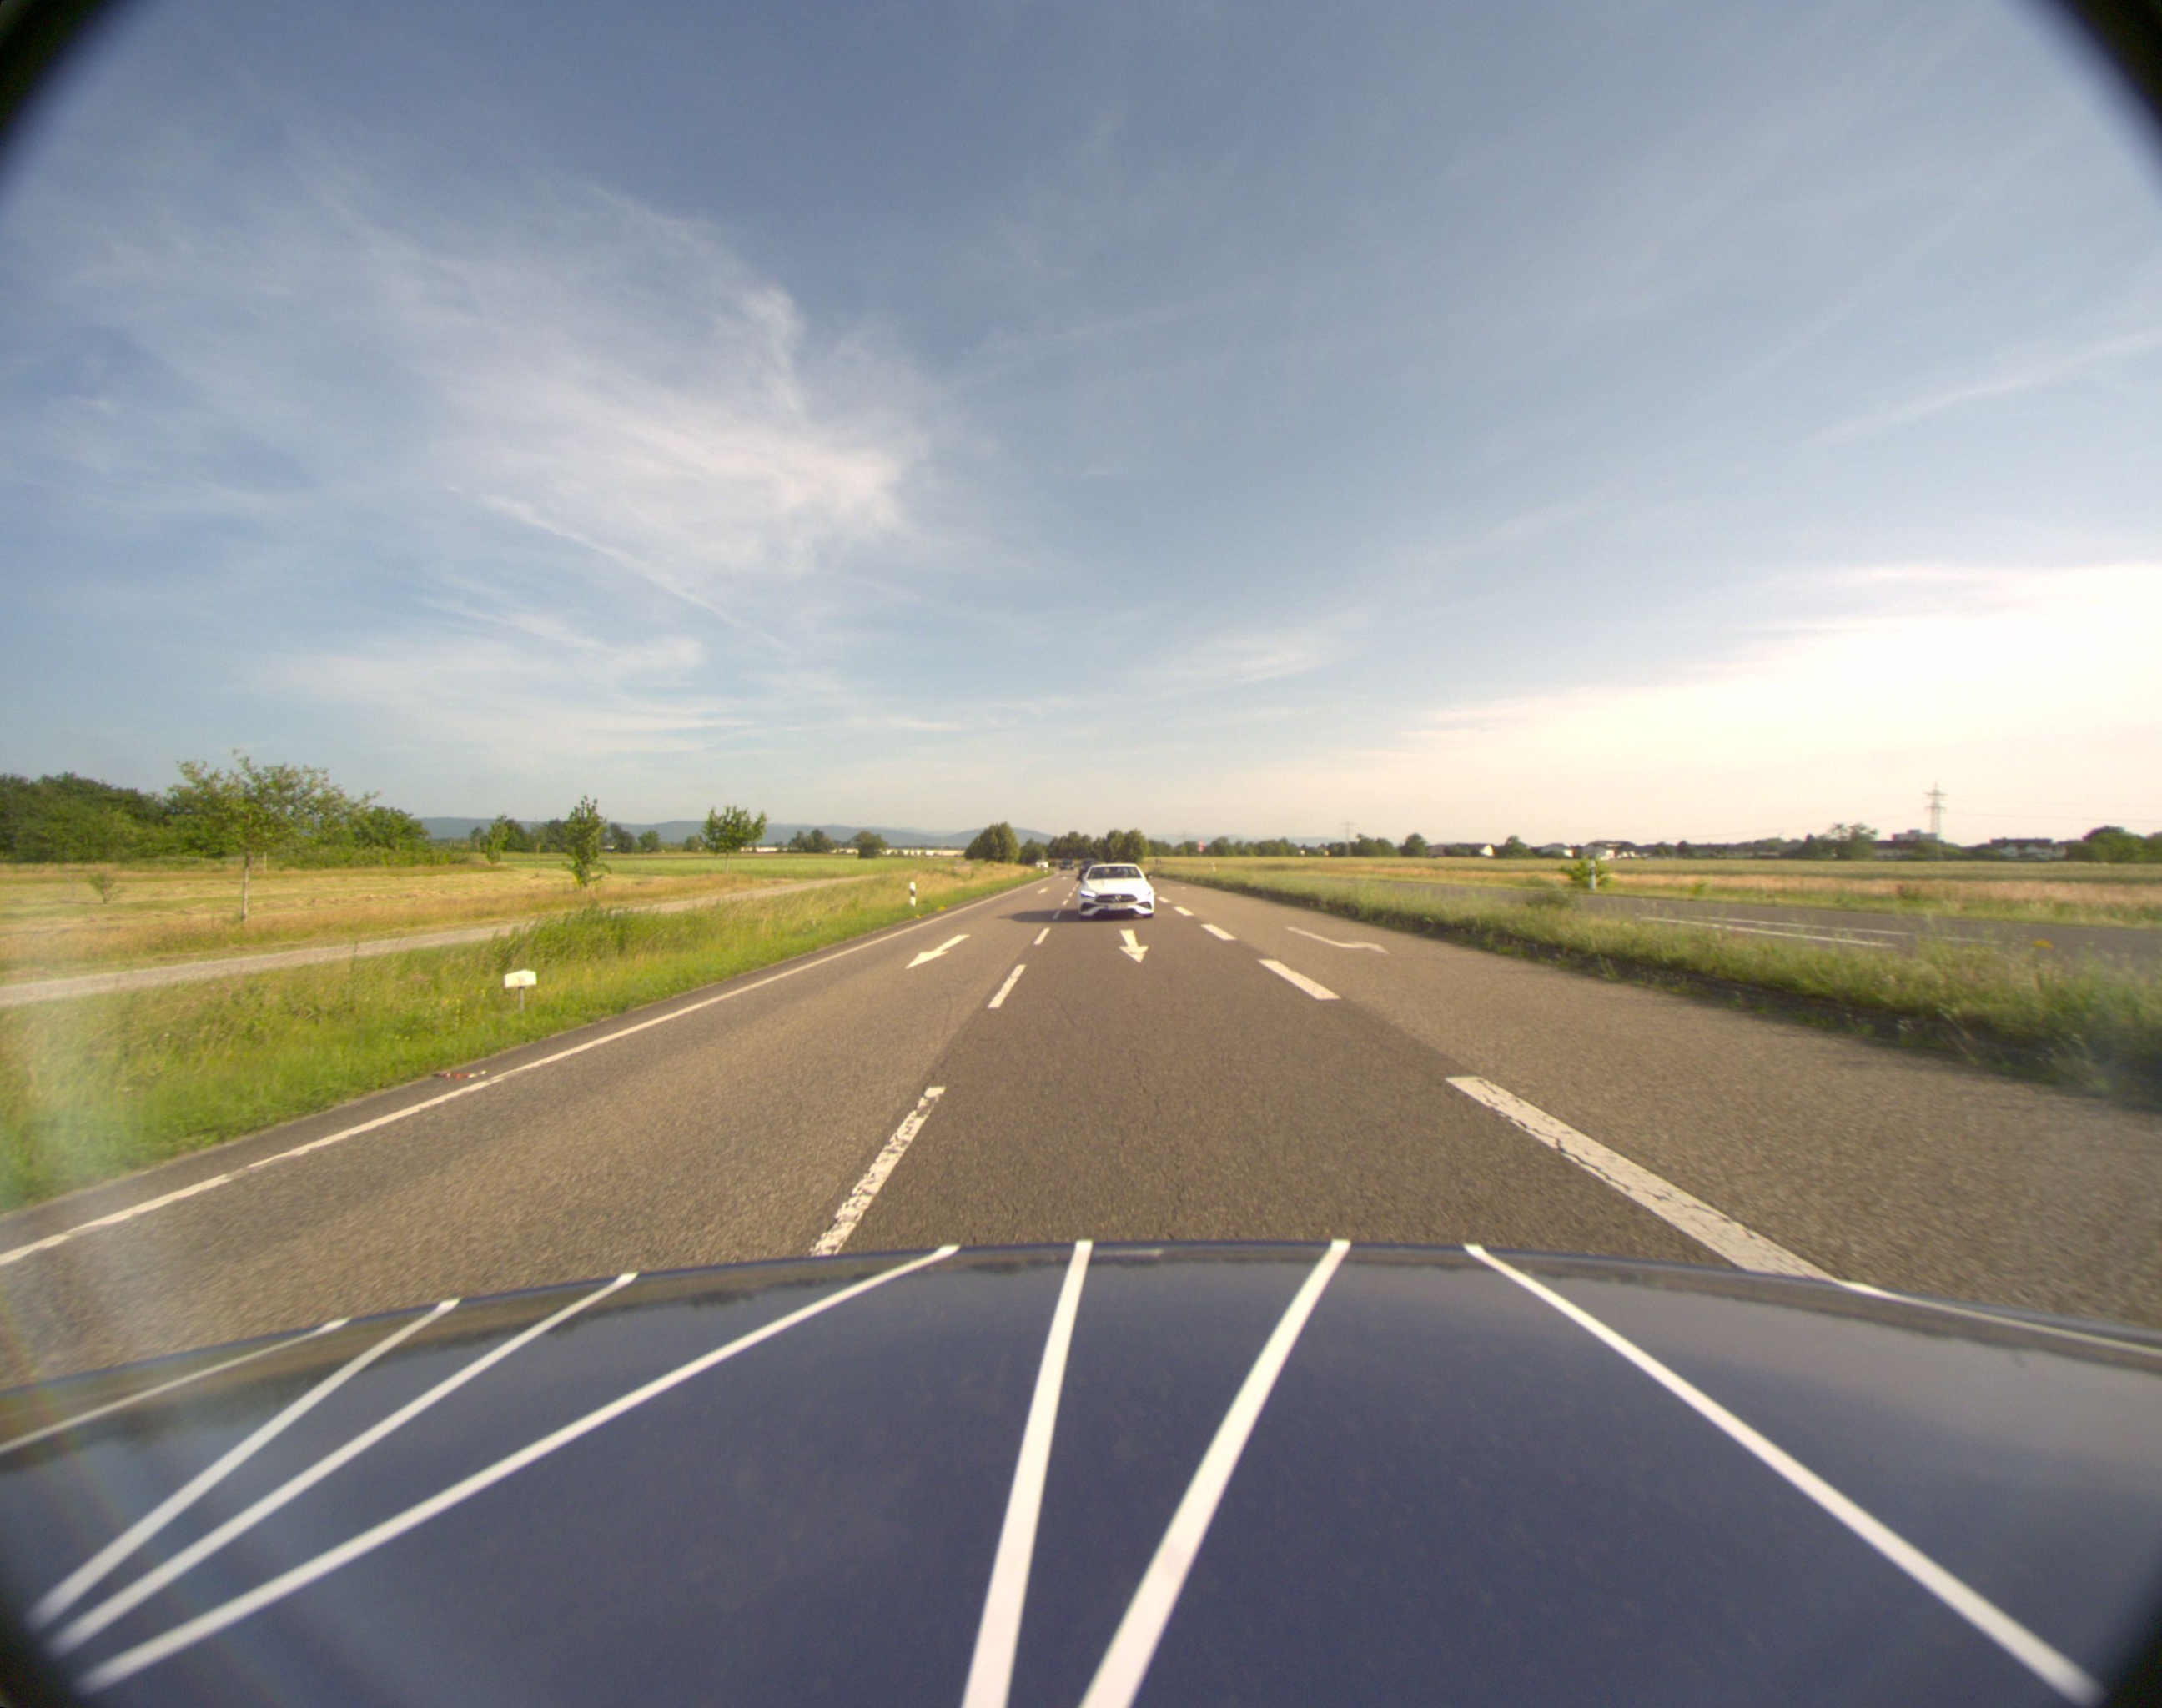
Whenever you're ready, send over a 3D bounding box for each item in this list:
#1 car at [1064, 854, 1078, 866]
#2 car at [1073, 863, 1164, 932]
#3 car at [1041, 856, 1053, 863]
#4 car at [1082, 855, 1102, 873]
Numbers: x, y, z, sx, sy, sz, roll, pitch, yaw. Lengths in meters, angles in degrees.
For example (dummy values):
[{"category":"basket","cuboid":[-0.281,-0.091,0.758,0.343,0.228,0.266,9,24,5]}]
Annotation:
[{"category":"car","cuboid":[-1.464,0.833,107.598,1.558,1.550,3.046,-1,0,-9]},{"category":"car","cuboid":[0.966,0.987,18.740,1.940,1.389,3.919,-2,0,4]},{"category":"car","cuboid":[-6.223,0.996,138.942,1.558,1.392,4.032,-1,0,-9]},{"category":"car","cuboid":[0.997,0.839,66.969,1.584,1.496,3.662,-1,0,4]}]
